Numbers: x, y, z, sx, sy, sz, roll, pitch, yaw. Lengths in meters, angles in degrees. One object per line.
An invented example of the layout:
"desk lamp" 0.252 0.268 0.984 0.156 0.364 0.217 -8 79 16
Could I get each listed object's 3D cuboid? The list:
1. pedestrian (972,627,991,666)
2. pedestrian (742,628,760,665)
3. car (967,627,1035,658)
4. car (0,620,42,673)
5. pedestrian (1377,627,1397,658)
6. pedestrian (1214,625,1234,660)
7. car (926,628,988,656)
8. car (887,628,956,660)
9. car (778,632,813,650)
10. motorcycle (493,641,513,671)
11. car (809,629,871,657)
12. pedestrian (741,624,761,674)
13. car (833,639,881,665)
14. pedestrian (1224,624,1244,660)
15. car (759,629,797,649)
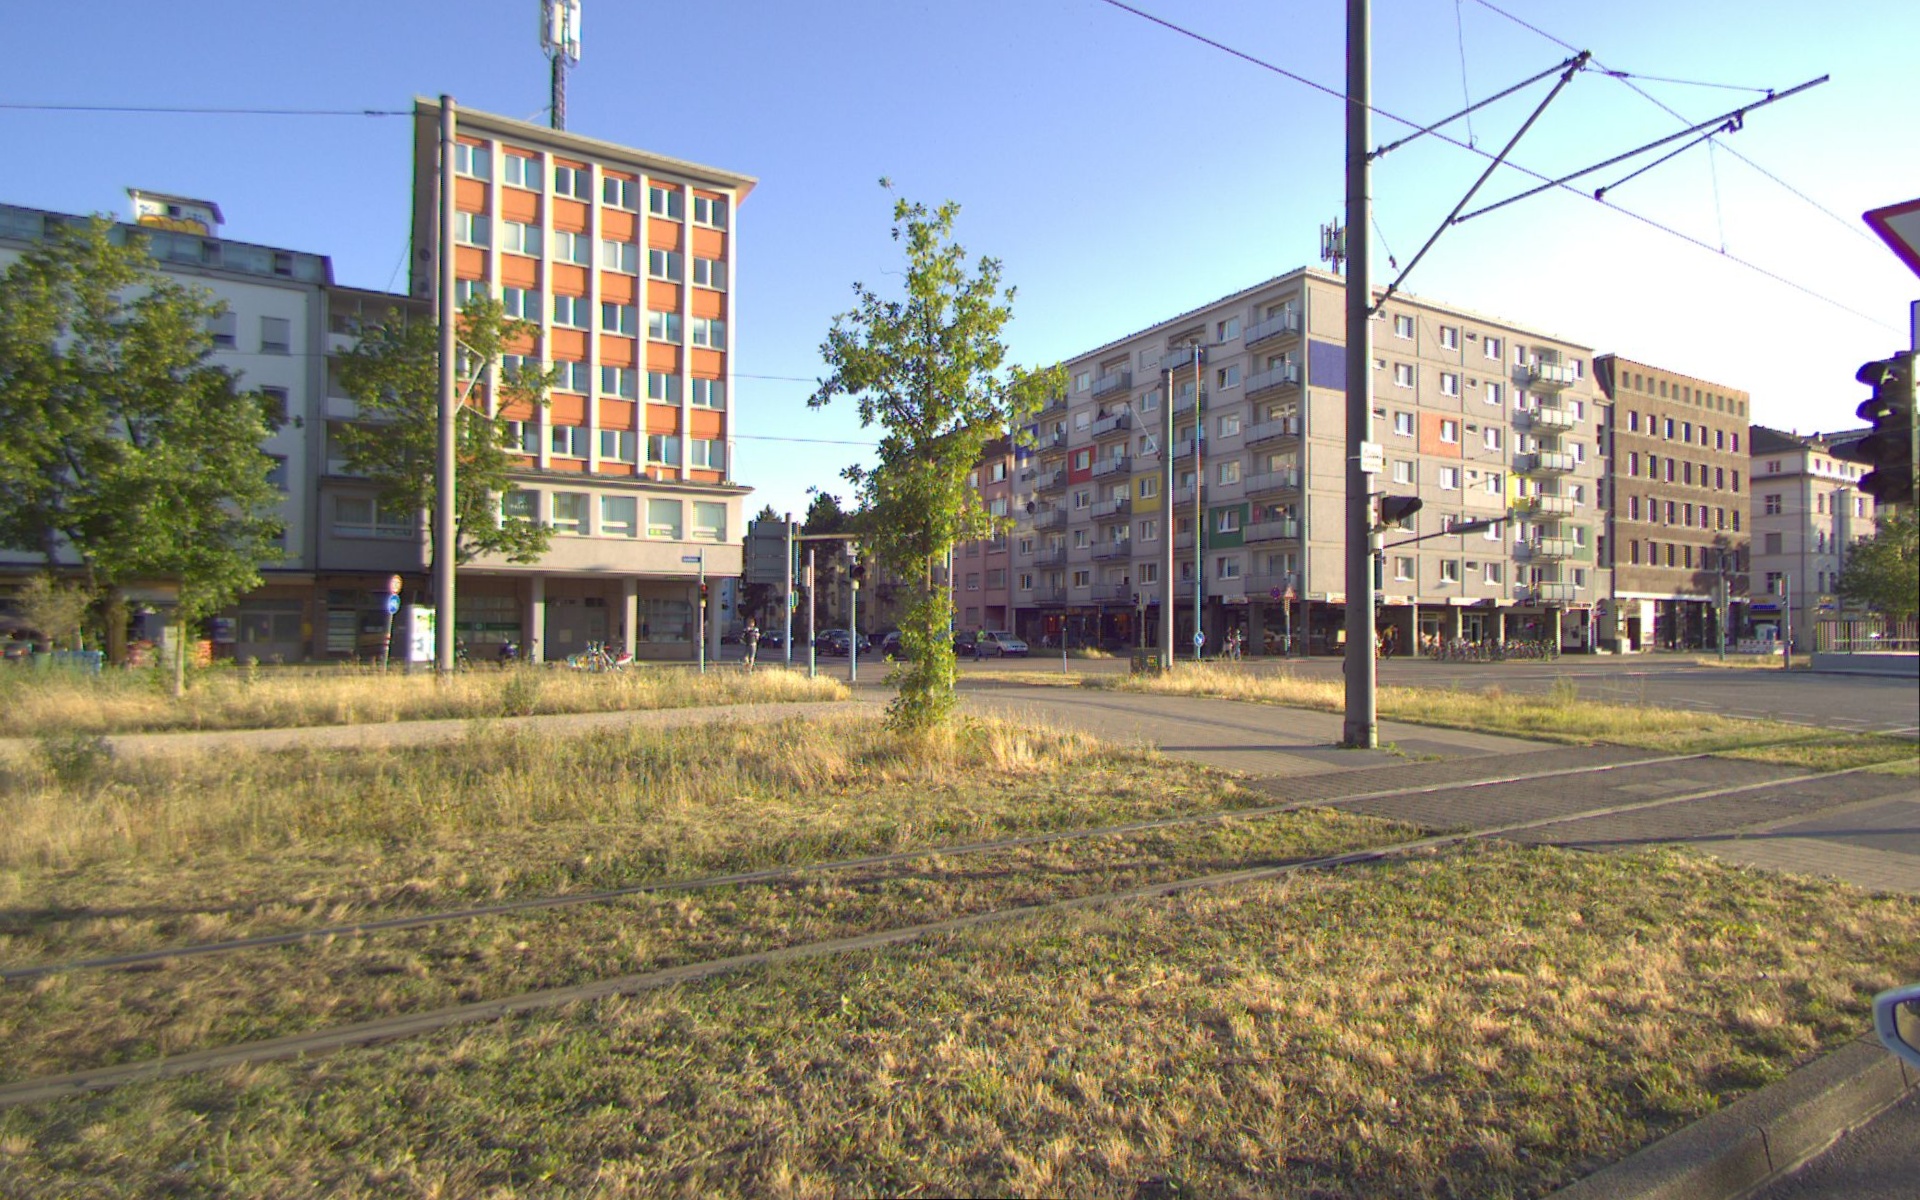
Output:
"pedestrian" 1.020 2.246 48.699 0.673 1.872 0.630 -1 -1 -30
"pedestrian" -9.248 2.053 44.445 0.608 1.651 0.512 -1 -1 -30
"car" 2.234 2.340 55.415 1.786 1.606 3.839 0 -1 -35
"car" -30.163 1.397 29.669 4.213 1.547 1.758 -1 -1 -8
"pedestrian" 23.332 2.318 54.926 0.767 1.692 0.741 -1 -1 4
"pedestrian" 14.245 2.269 54.122 0.728 1.876 0.701 -1 -1 -30
"car" -0.234 2.458 59.283 1.786 1.606 3.839 0 -1 -35
"car" -2.057 2.310 52.307 1.786 1.605 3.840 0 -3 -35
"car" -15.909 3.929 97.093 1.786 1.606 3.839 0 -1 -35
"motorcycle" -17.385 2.115 38.213 0.525 1.082 1.442 0 -1 -31
"car" -7.403 2.631 61.541 1.969 1.606 4.252 0 -1 -35
"pedestrian" -7.539 1.747 36.197 0.638 1.786 0.721 -1 -1 -9
"car" -6.976 3.484 67.669 1.804 1.572 3.969 0 -1 -30
"pedestrian" 14.523 2.225 53.313 0.812 1.872 0.599 -1 -1 -30
"car" -14.916 3.161 82.105 1.804 1.572 3.969 0 -1 -30
